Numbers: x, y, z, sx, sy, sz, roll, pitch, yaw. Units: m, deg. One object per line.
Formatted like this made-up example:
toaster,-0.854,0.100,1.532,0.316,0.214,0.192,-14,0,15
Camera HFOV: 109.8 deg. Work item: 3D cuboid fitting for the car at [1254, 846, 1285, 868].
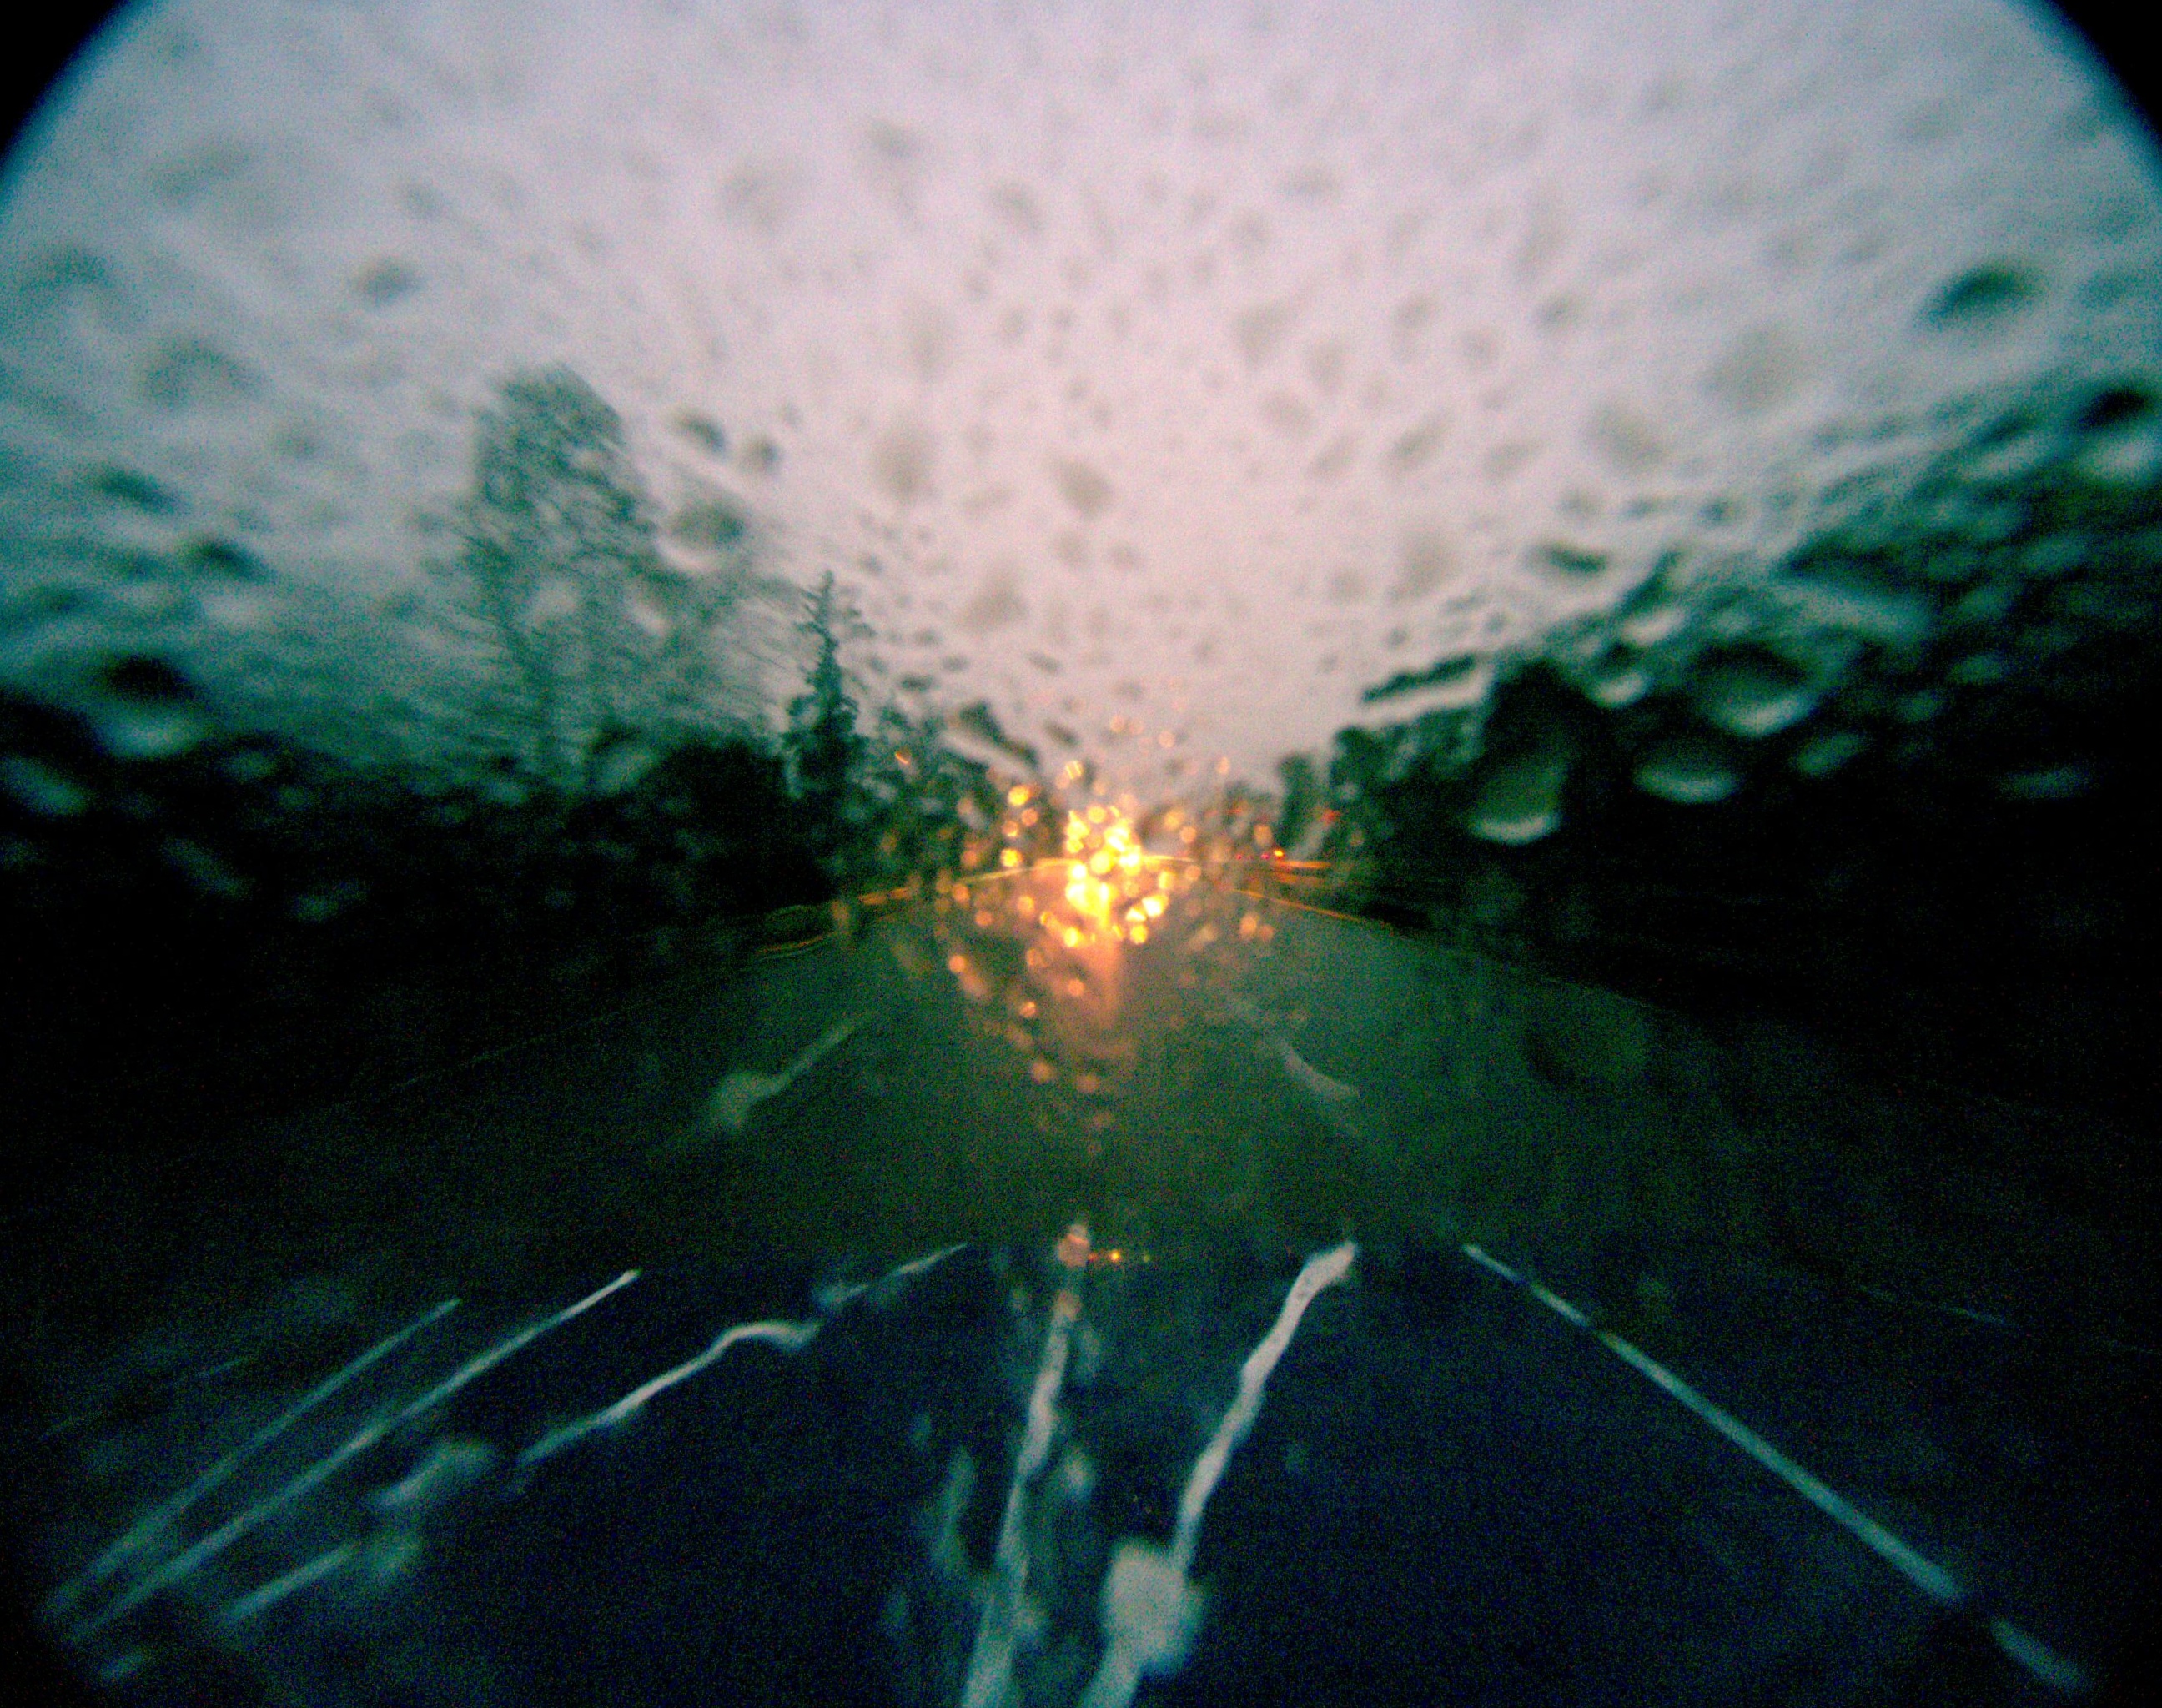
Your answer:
car,16.323,0.260,66.078,1.648,1.775,4.207,-5,0,2

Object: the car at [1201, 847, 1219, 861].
car,16.962,-0.011,99.983,1.756,1.743,3.941,-4,0,3

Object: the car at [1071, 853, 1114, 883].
car,0.706,0.741,42.686,1.951,1.511,4.790,-2,0,6

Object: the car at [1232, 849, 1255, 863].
car,20.204,0.265,94.399,1.998,1.669,4.473,0,0,2

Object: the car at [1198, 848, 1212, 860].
car,20.988,-0.031,129.194,1.998,1.743,4.901,-4,0,7
